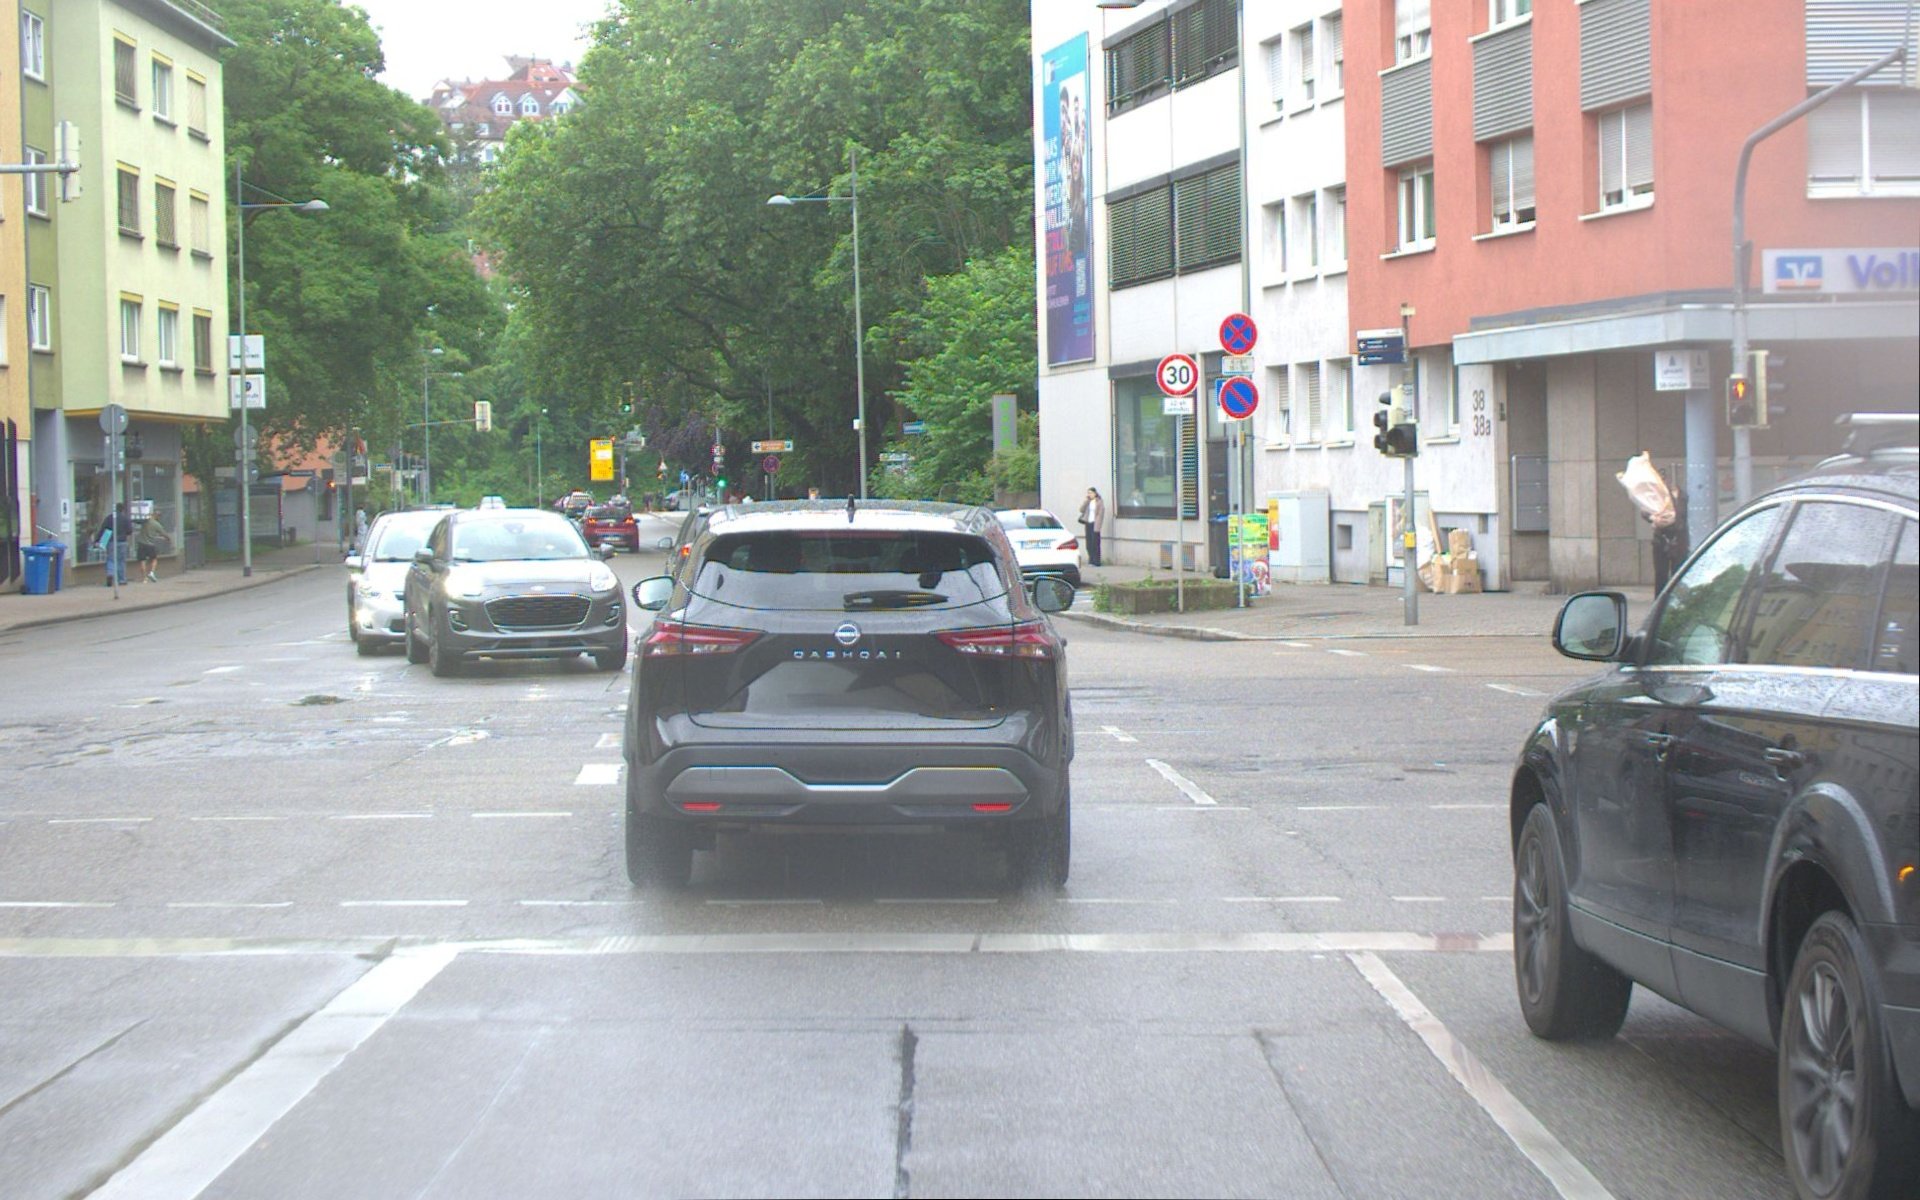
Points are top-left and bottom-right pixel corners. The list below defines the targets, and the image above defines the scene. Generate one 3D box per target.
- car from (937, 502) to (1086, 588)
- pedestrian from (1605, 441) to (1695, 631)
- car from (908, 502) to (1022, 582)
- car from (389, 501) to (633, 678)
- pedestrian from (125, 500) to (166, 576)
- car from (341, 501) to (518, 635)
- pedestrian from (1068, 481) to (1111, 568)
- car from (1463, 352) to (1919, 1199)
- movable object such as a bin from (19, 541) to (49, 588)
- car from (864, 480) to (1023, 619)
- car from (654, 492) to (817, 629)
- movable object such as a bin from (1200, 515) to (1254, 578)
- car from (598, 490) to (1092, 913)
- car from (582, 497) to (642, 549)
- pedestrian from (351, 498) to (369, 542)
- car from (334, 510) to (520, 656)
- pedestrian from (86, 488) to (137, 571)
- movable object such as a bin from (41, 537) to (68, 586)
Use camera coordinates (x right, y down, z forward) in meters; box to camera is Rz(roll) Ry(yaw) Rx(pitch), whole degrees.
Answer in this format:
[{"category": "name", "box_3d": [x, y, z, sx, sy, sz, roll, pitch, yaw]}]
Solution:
[{"category": "car", "box_3d": [0.878, -1.014, 61.416, 1.774, 1.396, 4.581, -3, 2, -10]}, {"category": "pedestrian", "box_3d": [7.938, -0.738, 39.583, 0.825, 2.151, 0.770, 1, 2, -1]}, {"category": "car", "box_3d": [0.071, -1.176, 67.867, 1.714, 1.437, 4.083, -3, 2, -7]}, {"category": "car", "box_3d": [-4.400, -0.139, 33.216, 1.855, 1.547, 4.228, -2, 1, -14]}, {"category": "pedestrian", "box_3d": [-18.351, -1.395, 77.458, 0.798, 1.682, 0.817, -1, 2, -8]}, {"category": "car", "box_3d": [-6.827, -0.428, 44.621, 1.820, 1.603, 4.431, -2, 1, -3]}, {"category": "pedestrian", "box_3d": [2.634, -1.545, 69.998, 0.612, 1.731, 0.681, -3, 2, -14]}, {"category": "car", "box_3d": [2.731, 0.449, 8.606, 2.021, 1.863, 4.900, 1, 1, -2]}, {"category": "movable object such as a bin", "box_3d": [-18.587, -0.717, 68.994, 0.454, 0.926, 0.502, -1, 2, 0]}, {"category": "car", "box_3d": [-0.284, -0.736, 49.151, 1.945, 1.810, 4.001, -3, 1, -4]}, {"category": "car", "box_3d": [-3.094, -0.543, 46.624, 1.945, 1.679, 4.001, -3, 1, -6]}, {"category": "movable object such as a bin", "box_3d": [4.631, -0.930, 59.669, 0.712, 1.064, 0.784, -2, 2, -14]}, {"category": "car", "box_3d": [-0.576, 0.344, 15.241, 1.894, 1.623, 4.001, 0, 1, -4]}, {"category": "car", "box_3d": [-11.206, -2.503, 110.688, 1.820, 1.606, 3.867, 1, 2, -7]}, {"category": "pedestrian", "box_3d": [-24.735, -3.291, 141.735, 0.666, 1.785, 0.722, 0, 2, -14]}, {"category": "car", "box_3d": [-6.001, -0.205, 39.095, 1.934, 1.521, 4.136, -2, 1, -7]}, {"category": "pedestrian", "box_3d": [-18.478, -1.535, 74.865, 0.865, 1.782, 0.875, 2, 1, -1]}, {"category": "movable object such as a bin", "box_3d": [-18.744, -0.796, 71.193, 0.399, 1.003, 0.545, -1, 2, 0]}]
